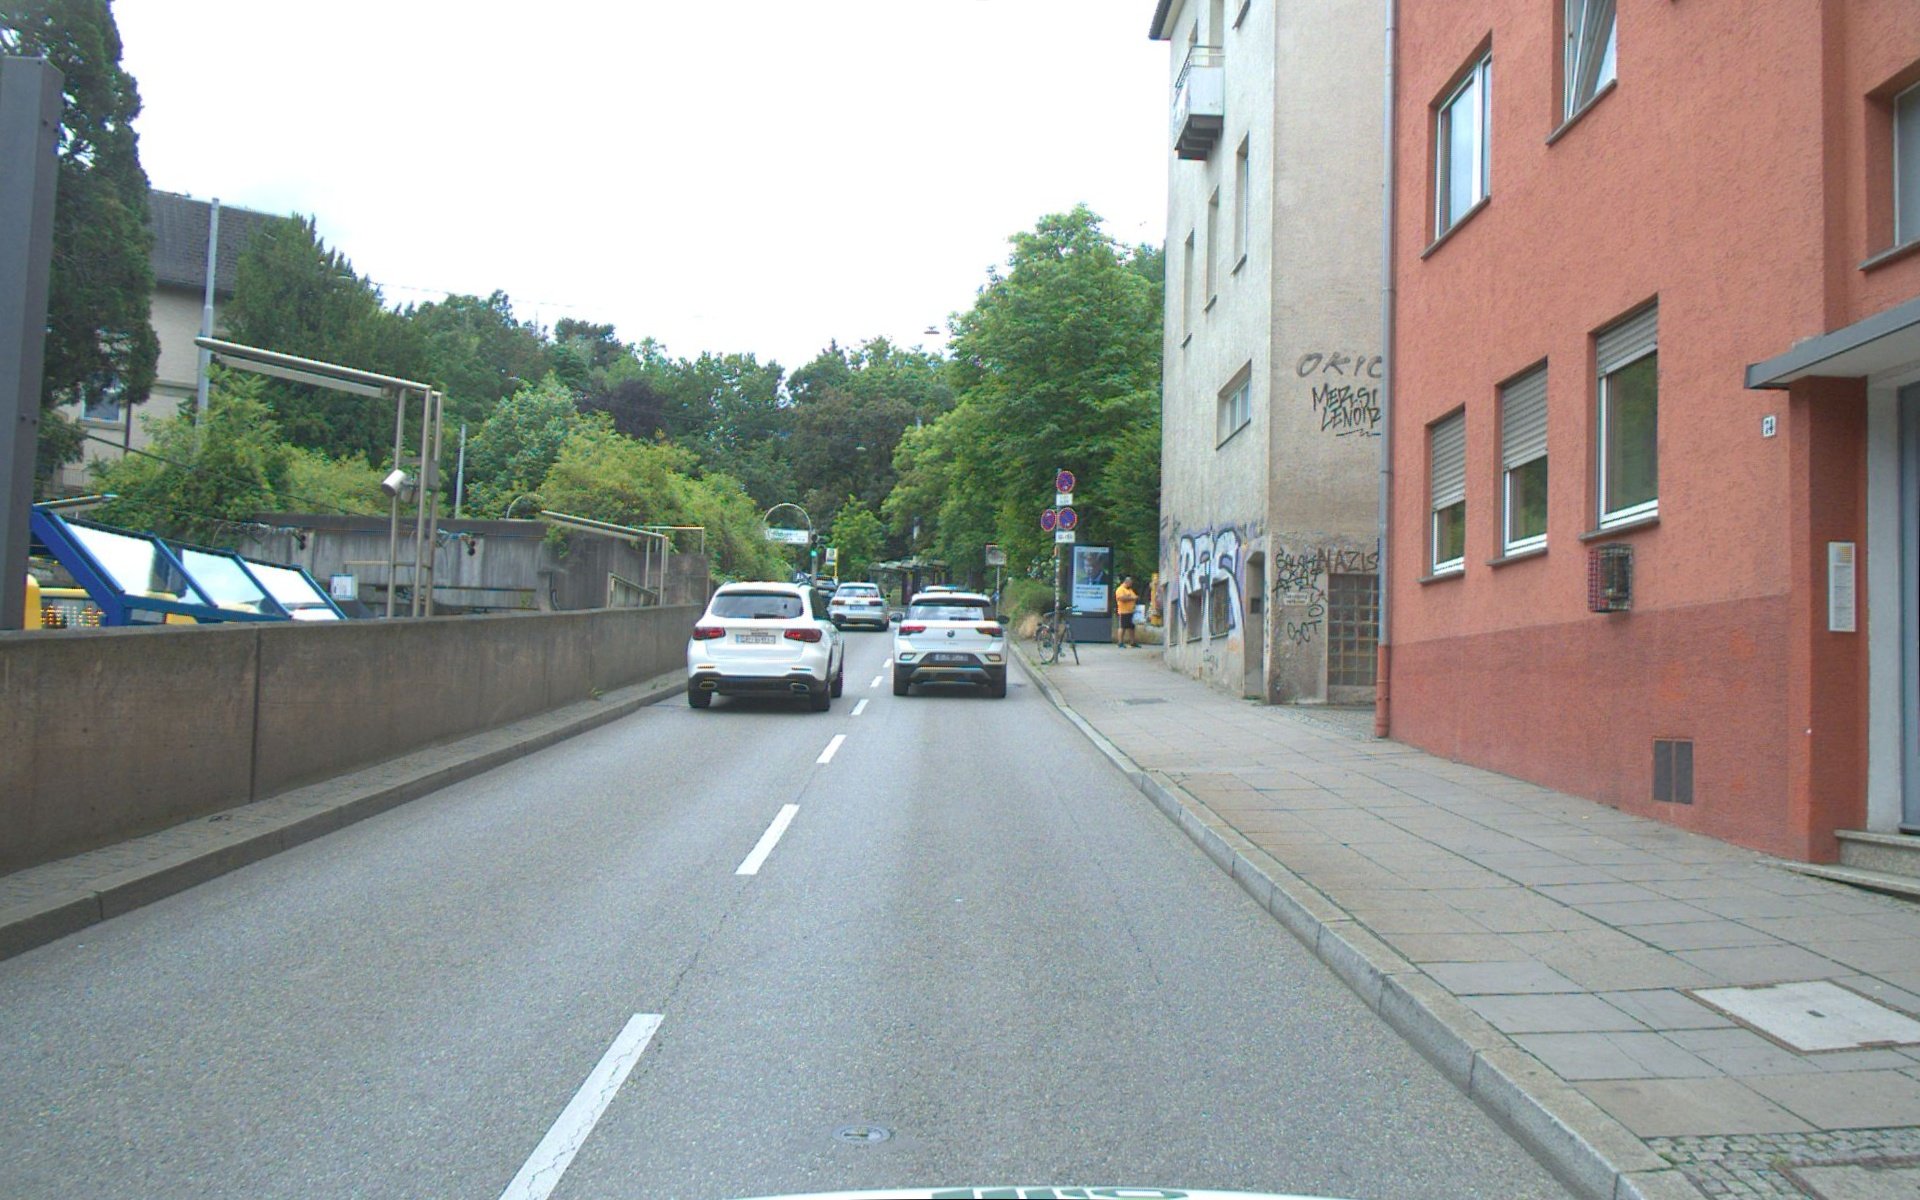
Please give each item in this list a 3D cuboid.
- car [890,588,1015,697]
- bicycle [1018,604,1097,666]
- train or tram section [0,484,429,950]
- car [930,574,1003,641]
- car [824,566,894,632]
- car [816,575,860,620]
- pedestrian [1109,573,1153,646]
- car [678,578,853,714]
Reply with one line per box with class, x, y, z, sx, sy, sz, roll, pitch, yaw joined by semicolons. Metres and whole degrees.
car;-0.091;0.622;26.269;1.826;1.583;3.895;1;0;1
bicycle;1.887;0.666;32.360;0.630;1.163;2.049;2;-1;-25
train or tram section;-8.891;0.992;16.979;2.889;3.570;12.981;1;-2;-1
car;0.144;0.185;44.072;1.823;1.660;3.959;1;0;0
car;-3.134;-0.052;52.197;1.953;1.914;3.999;3;0;-1
car;-5.645;-0.122;76.800;1.714;1.914;3.999;3;0;-1
pedestrian;4.087;0.225;39.583;0.819;1.742;0.818;0;0;-15
car;-2.553;0.569;22.706;1.838;1.681;4.341;0;0;0
